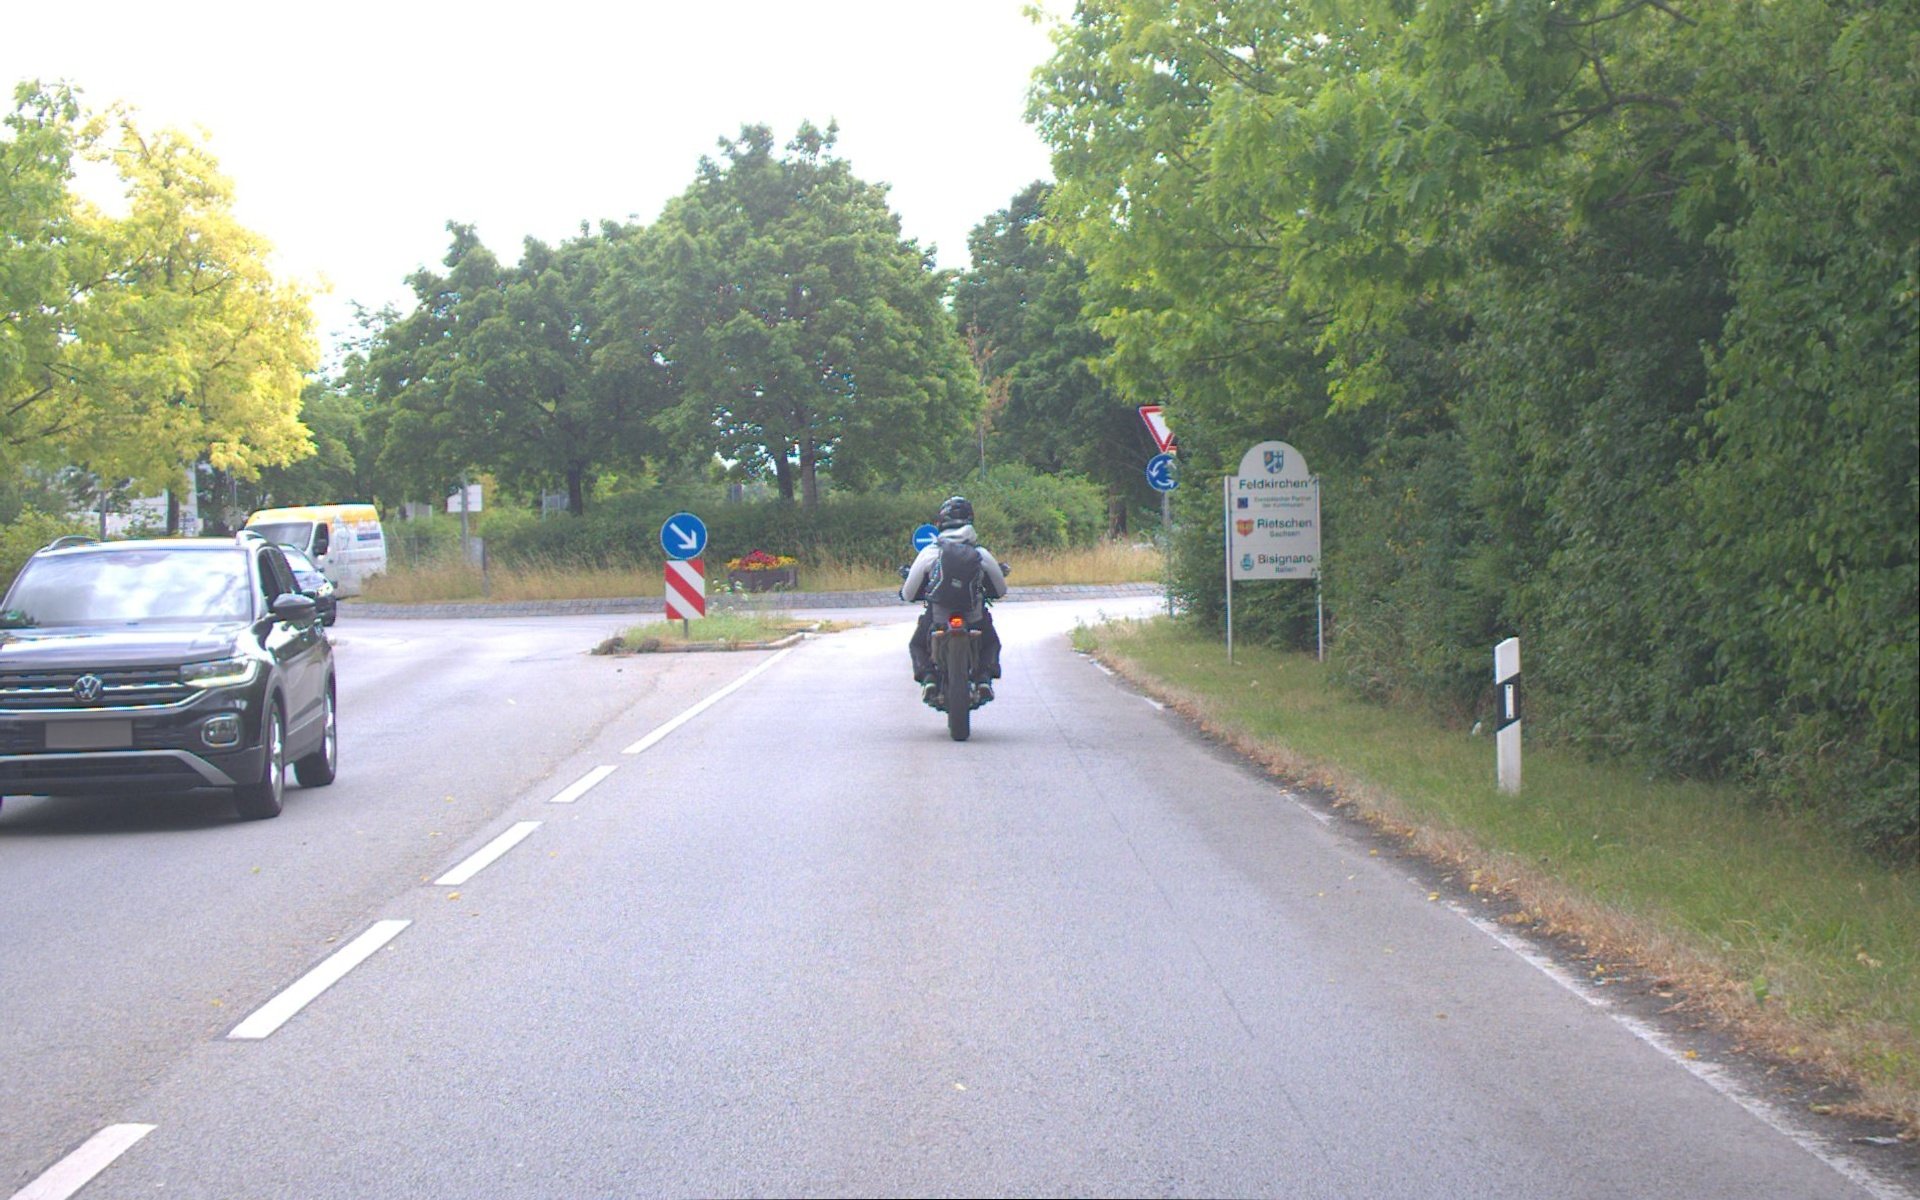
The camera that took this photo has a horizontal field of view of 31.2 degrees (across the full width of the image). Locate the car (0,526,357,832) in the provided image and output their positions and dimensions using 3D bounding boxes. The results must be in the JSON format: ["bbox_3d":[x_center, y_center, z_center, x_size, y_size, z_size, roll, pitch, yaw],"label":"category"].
[{"bbox_3d":[-4.585,0.372,19.643,1.733,1.529,4.096,-2,1,-3],"label":"car"}]

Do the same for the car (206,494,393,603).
[{"bbox_3d":[-15.434,-1.246,80.645,2.163,2.443,5.439,-1,1,14],"label":"car"}]

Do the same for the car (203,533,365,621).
[{"bbox_3d":[-13.366,-0.434,67.788,1.738,1.580,4.356,-3,1,-30],"label":"car"}]

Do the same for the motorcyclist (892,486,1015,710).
[{"bbox_3d":[-0.061,-0.024,25.581,0.861,1.618,1.191,-1,1,-2],"label":"motorcyclist"}]

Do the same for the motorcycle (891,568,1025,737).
[{"bbox_3d":[-0.042,0.360,25.671,0.896,1.154,2.620,-1,1,-2],"label":"motorcycle"}]
